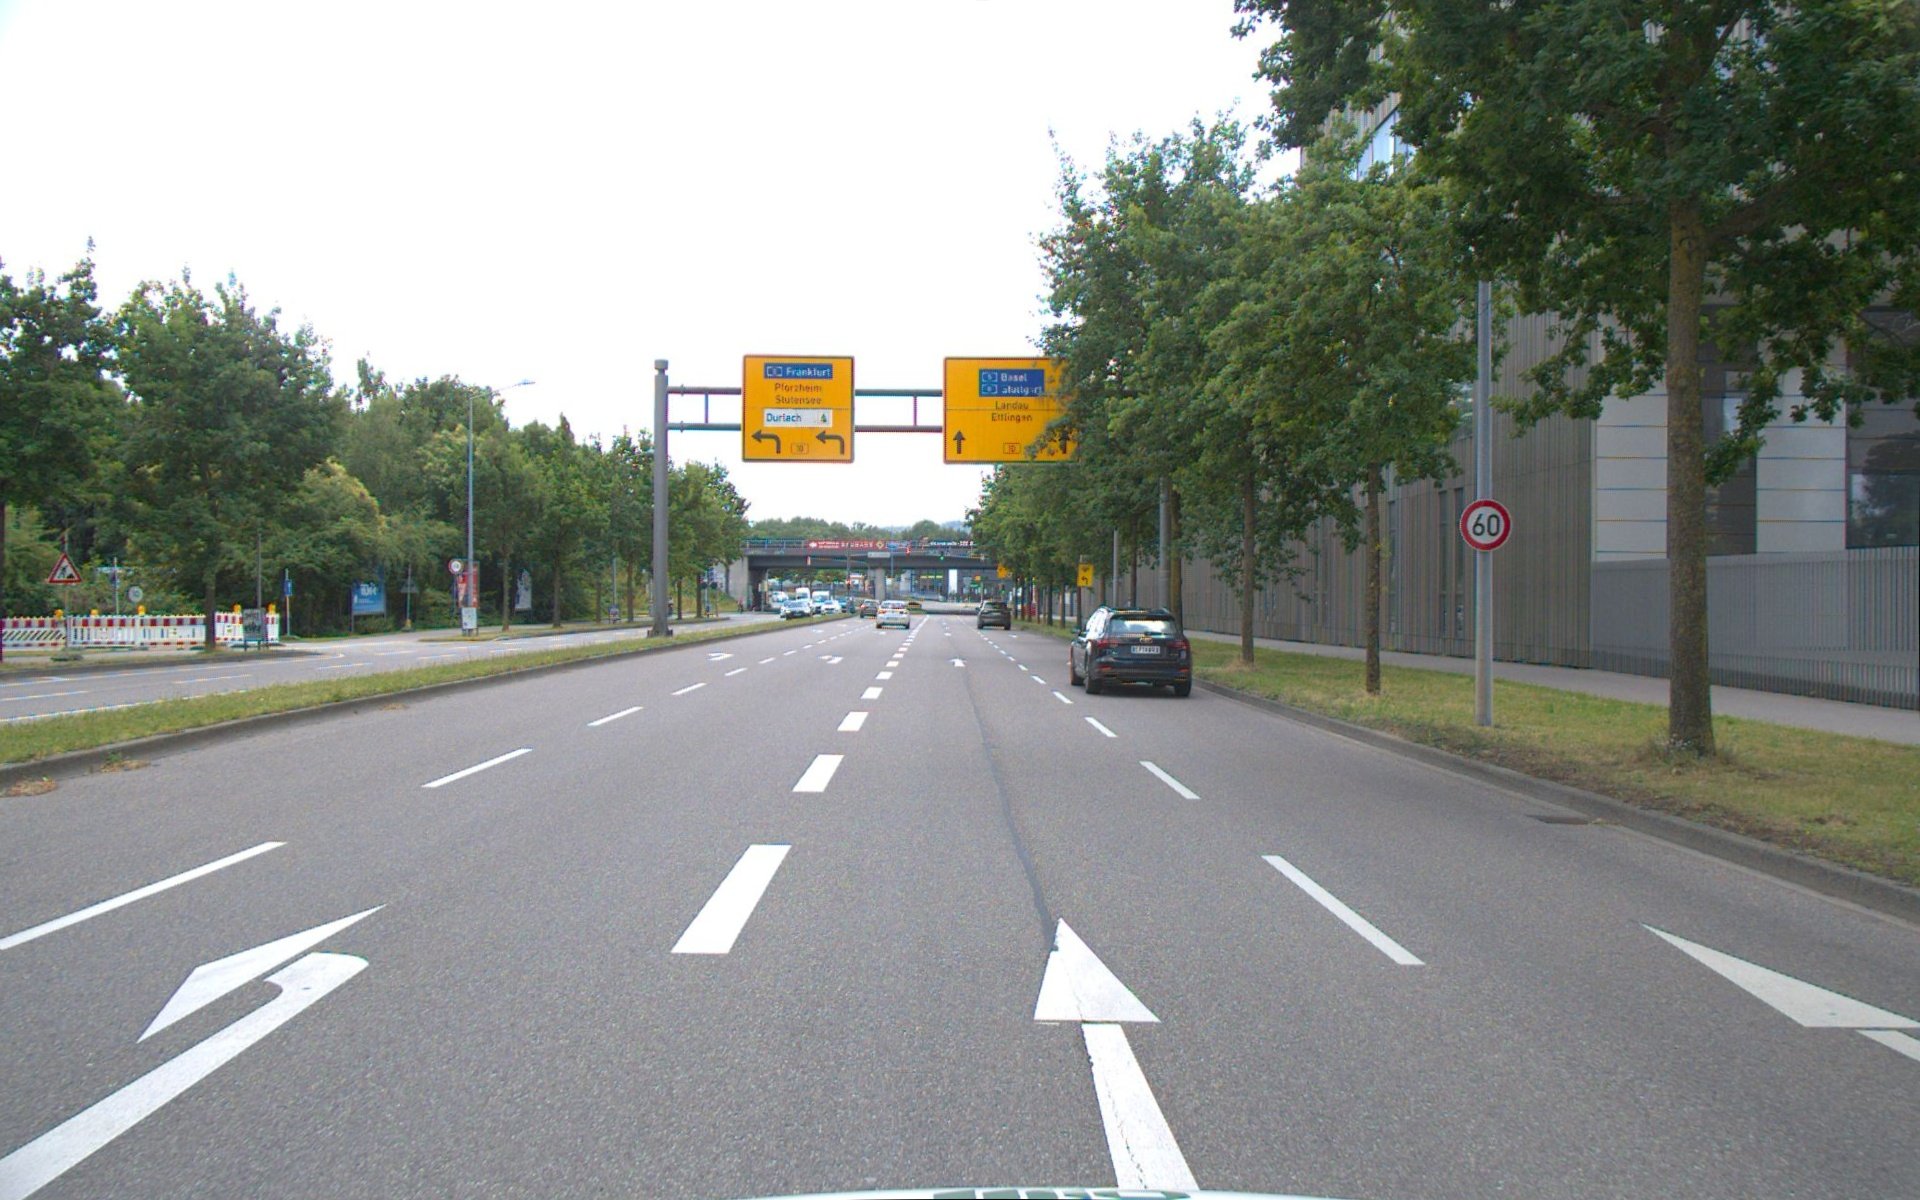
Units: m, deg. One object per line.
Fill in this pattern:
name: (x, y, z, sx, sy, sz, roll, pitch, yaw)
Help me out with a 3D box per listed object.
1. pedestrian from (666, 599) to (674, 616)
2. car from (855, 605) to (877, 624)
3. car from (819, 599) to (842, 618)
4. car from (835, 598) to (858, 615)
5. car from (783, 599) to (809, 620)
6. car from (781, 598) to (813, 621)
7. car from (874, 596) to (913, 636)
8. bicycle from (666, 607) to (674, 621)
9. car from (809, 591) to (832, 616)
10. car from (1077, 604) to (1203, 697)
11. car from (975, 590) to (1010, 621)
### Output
pedestrian: (-24.471, 0.645, 139.762, 0.547, 1.425, 0.563, 2, -1, -2)
car: (-7.551, 1.160, 132.719, 1.739, 1.489, 3.997, 1, 0, -3)
car: (-12.778, 0.881, 163.345, 1.953, 1.747, 3.999, 2, -1, -1)
car: (-12.375, 0.707, 180.503, 1.952, 1.747, 4.000, 2, -1, 2)
car: (-14.528, 0.861, 146.517, 1.953, 1.814, 3.998, 2, -1, -2)
car: (-12.204, 0.681, 123.974, 1.952, 1.646, 4.000, 0, 1, 0)
car: (-3.531, 0.829, 87.222, 1.954, 2.049, 3.997, 1, 0, -3)
bicycle: (-24.496, 1.198, 139.783, 0.450, 1.109, 1.473, 2, -1, -2)
car: (-15.723, 0.430, 186.913, 1.952, 2.686, 5.237, 2, -1, 2)
car: (3.120, 0.848, 29.411, 1.650, 1.489, 3.998, 1, 0, -2)
car: (1.849, 0.292, 95.194, 1.952, 1.654, 4.310, -1, 1, 1)
